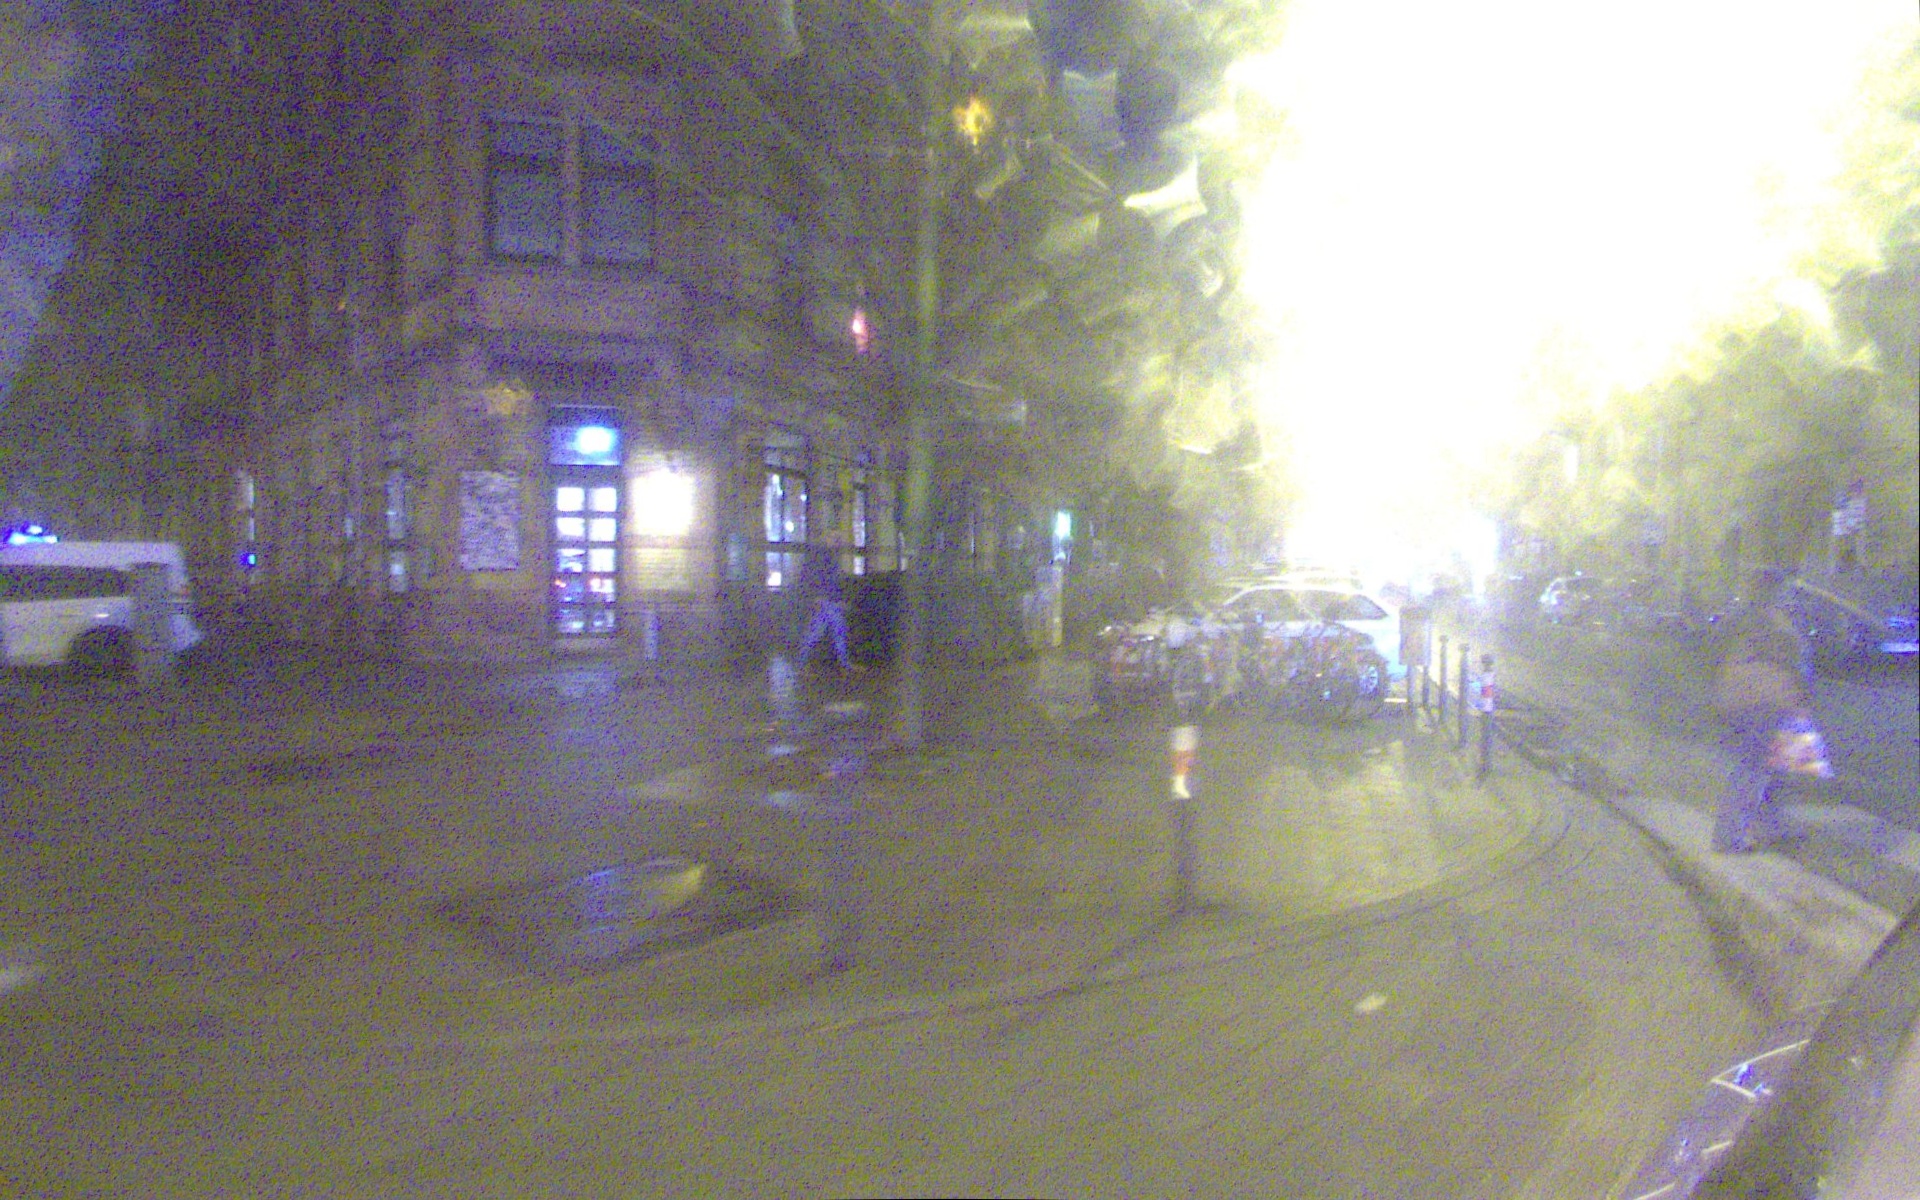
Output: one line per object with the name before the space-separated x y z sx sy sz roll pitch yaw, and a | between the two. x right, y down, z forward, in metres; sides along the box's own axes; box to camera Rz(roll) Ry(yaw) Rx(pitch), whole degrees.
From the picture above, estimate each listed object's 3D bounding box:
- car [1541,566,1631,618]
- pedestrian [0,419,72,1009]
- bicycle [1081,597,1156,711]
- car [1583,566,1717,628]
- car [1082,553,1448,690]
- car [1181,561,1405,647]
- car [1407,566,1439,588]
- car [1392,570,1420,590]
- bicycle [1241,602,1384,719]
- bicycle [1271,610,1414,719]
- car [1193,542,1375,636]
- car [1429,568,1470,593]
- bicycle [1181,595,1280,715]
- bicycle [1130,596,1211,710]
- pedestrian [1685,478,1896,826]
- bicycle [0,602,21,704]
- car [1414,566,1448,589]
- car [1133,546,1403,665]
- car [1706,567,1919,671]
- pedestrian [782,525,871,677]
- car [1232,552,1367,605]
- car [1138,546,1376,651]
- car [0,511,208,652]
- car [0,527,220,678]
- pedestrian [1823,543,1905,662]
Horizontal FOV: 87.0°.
car | 19.586 -0.284 31.801 1.701 1.497 3.760 -1 1 21
pedestrian | -3.621 0.359 3.292 0.965 1.856 0.879 -1 2 -34
bicycle | 1.658 0.534 10.757 0.329 1.039 1.649 1 3 -7
car | 18.026 -0.132 26.654 1.697 1.497 4.140 0 1 16
car | 3.897 0.248 13.286 4.175 1.593 1.775 1 2 -8
car | 6.911 0.061 21.236 3.989 1.617 1.837 1 2 -8
car | 35.756 -1.774 78.182 1.829 1.600 3.713 -1 1 19
car | 38.039 -1.706 86.368 1.829 1.600 3.713 -1 1 19
bicycle | 3.689 0.595 10.733 0.329 1.039 1.650 1 3 -25
bicycle | 4.099 0.657 10.969 0.329 1.039 1.649 1 1 -27
car | 7.586 -0.254 23.817 3.661 2.053 1.726 1 2 -15
car | 30.272 -1.227 62.707 1.829 1.497 3.713 -1 1 19
bicycle | 2.844 0.540 10.795 0.329 1.038 1.651 -1 5 -10
bicycle | 2.243 0.531 10.943 0.329 1.106 1.648 1 1 -7
pedestrian | 4.614 0.262 5.683 0.822 1.793 0.593 -1 1 32
bicycle | -10.365 0.549 9.871 0.402 1.021 1.749 1 1 44
car | 34.284 -1.667 73.736 1.829 1.600 3.713 -1 1 19
car | 4.845 0.074 16.094 3.661 1.733 1.776 1 2 -15
car | 14.496 0.206 16.923 1.829 1.497 5.000 0 2 19
pedestrian | -1.689 -0.018 12.832 0.789 1.839 0.798 2 4 44
car | 13.369 -0.845 39.959 4.615 2.004 1.983 0 2 -9
car | 5.343 -0.034 18.363 3.713 1.733 1.753 1 2 -15
car | -14.024 -0.247 14.069 1.992 1.913 5.464 0 1 42
car | -12.341 0.031 12.385 1.992 1.784 5.020 0 1 42
pedestrian | 17.816 0.033 19.970 0.791 2.269 1.110 0 1 18
